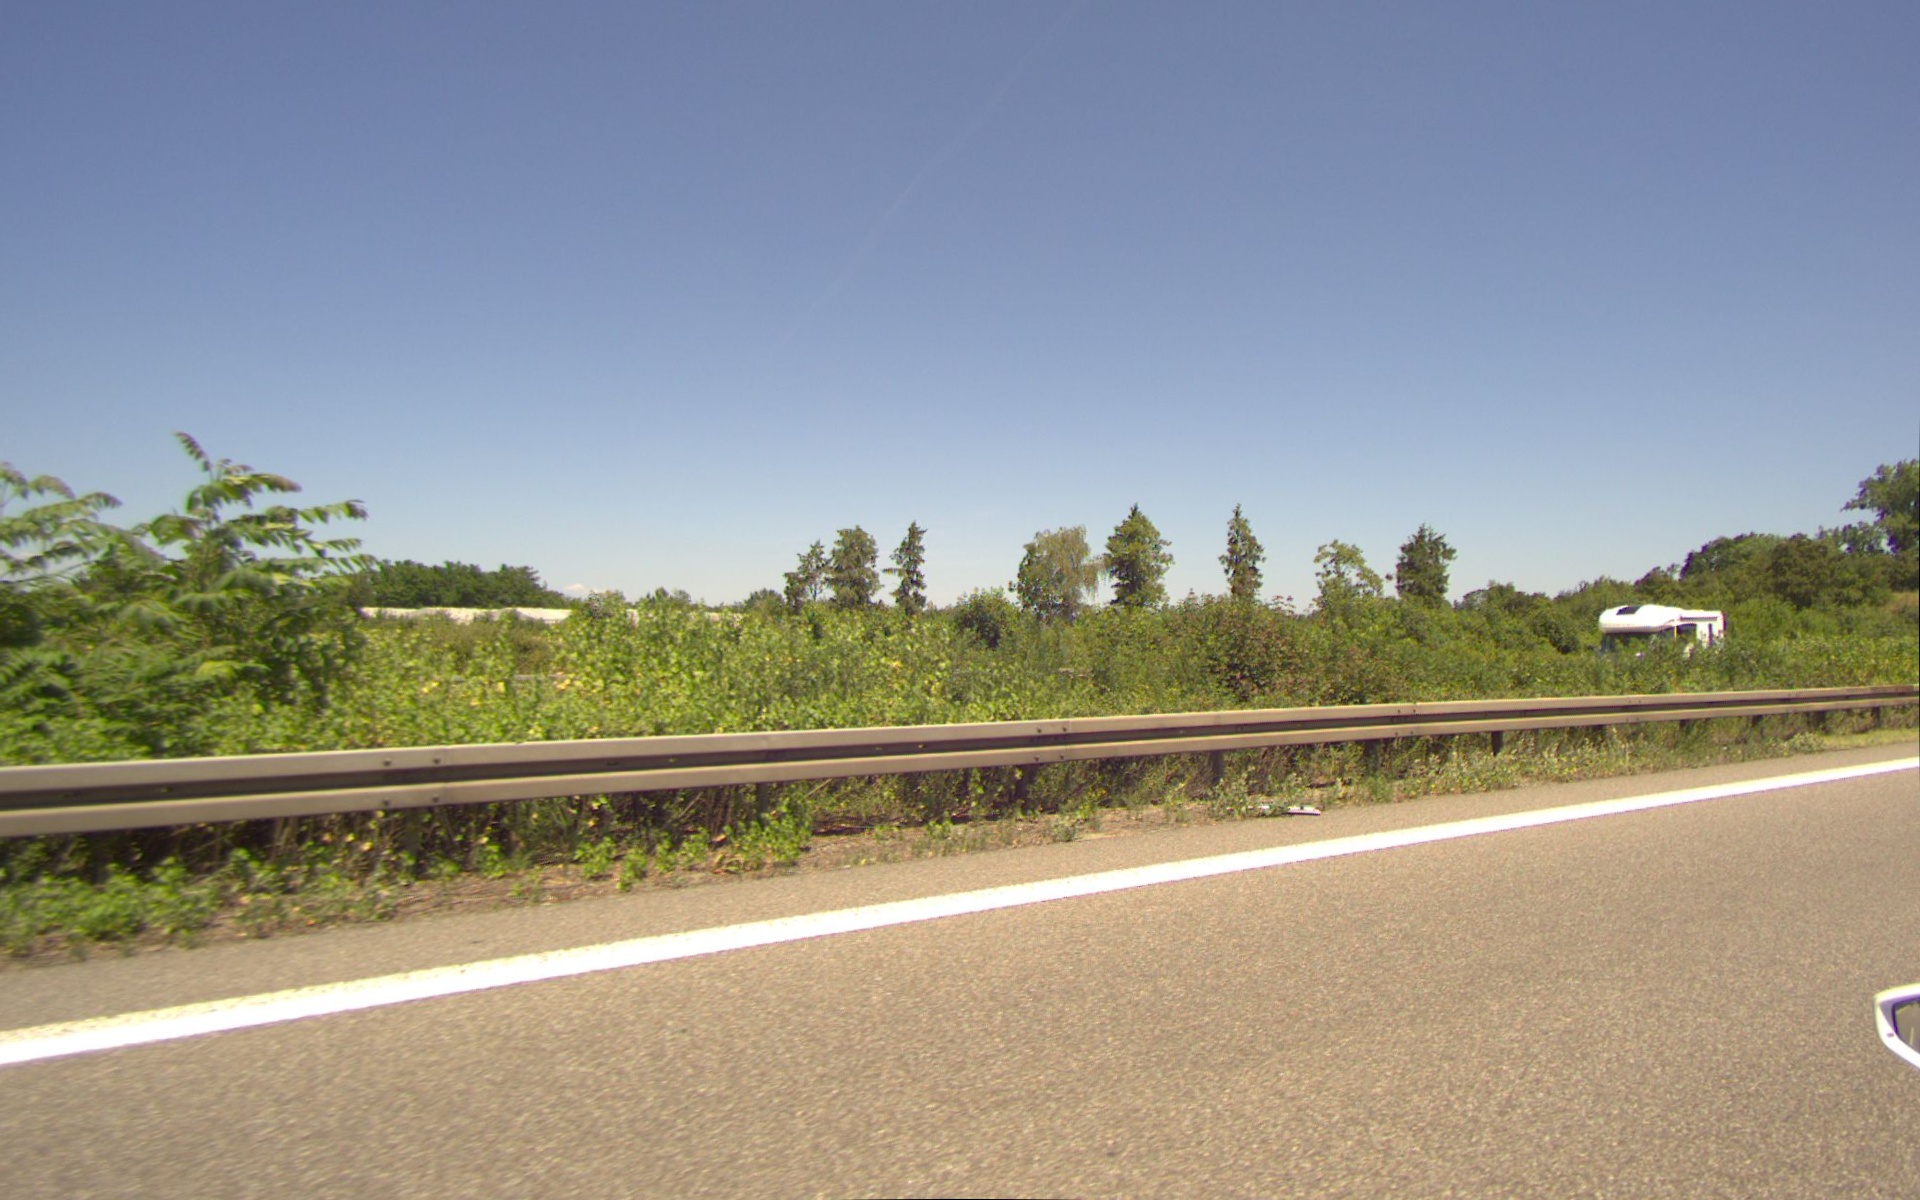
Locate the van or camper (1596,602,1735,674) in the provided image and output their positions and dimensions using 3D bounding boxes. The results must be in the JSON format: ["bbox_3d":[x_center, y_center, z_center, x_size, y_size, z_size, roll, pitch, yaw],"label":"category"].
[{"bbox_3d":[27.421,1.456,38.965,6.225,2.579,1.984,2,0,-31],"label":"van or camper"}]
